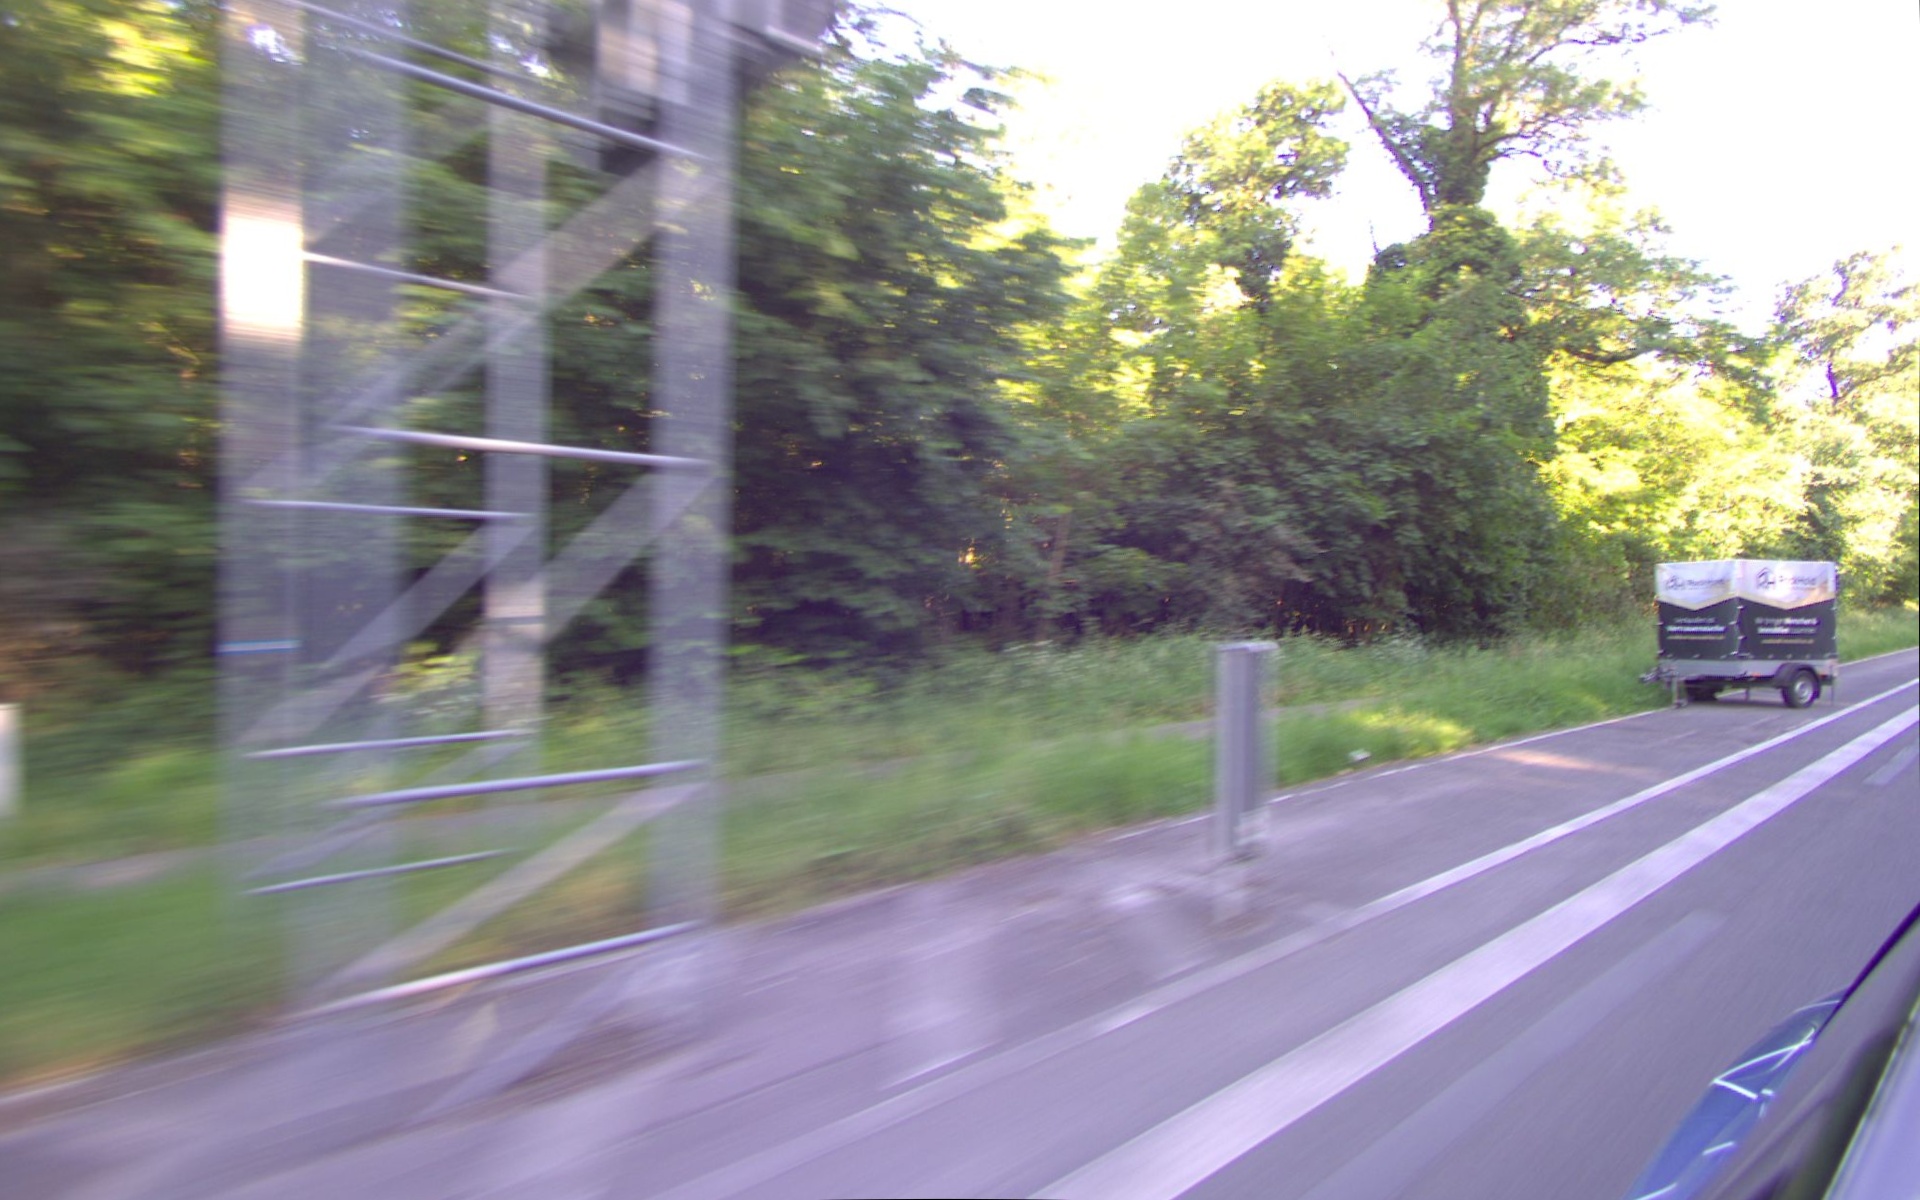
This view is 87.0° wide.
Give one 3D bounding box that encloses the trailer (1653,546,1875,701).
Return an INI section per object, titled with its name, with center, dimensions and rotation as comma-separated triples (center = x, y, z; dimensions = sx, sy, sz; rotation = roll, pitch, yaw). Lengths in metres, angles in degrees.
[trailer]
center = 12.013, 0.321, 15.176
dimensions = 2.346, 2.139, 1.623
rotation = 0, 0, -20
